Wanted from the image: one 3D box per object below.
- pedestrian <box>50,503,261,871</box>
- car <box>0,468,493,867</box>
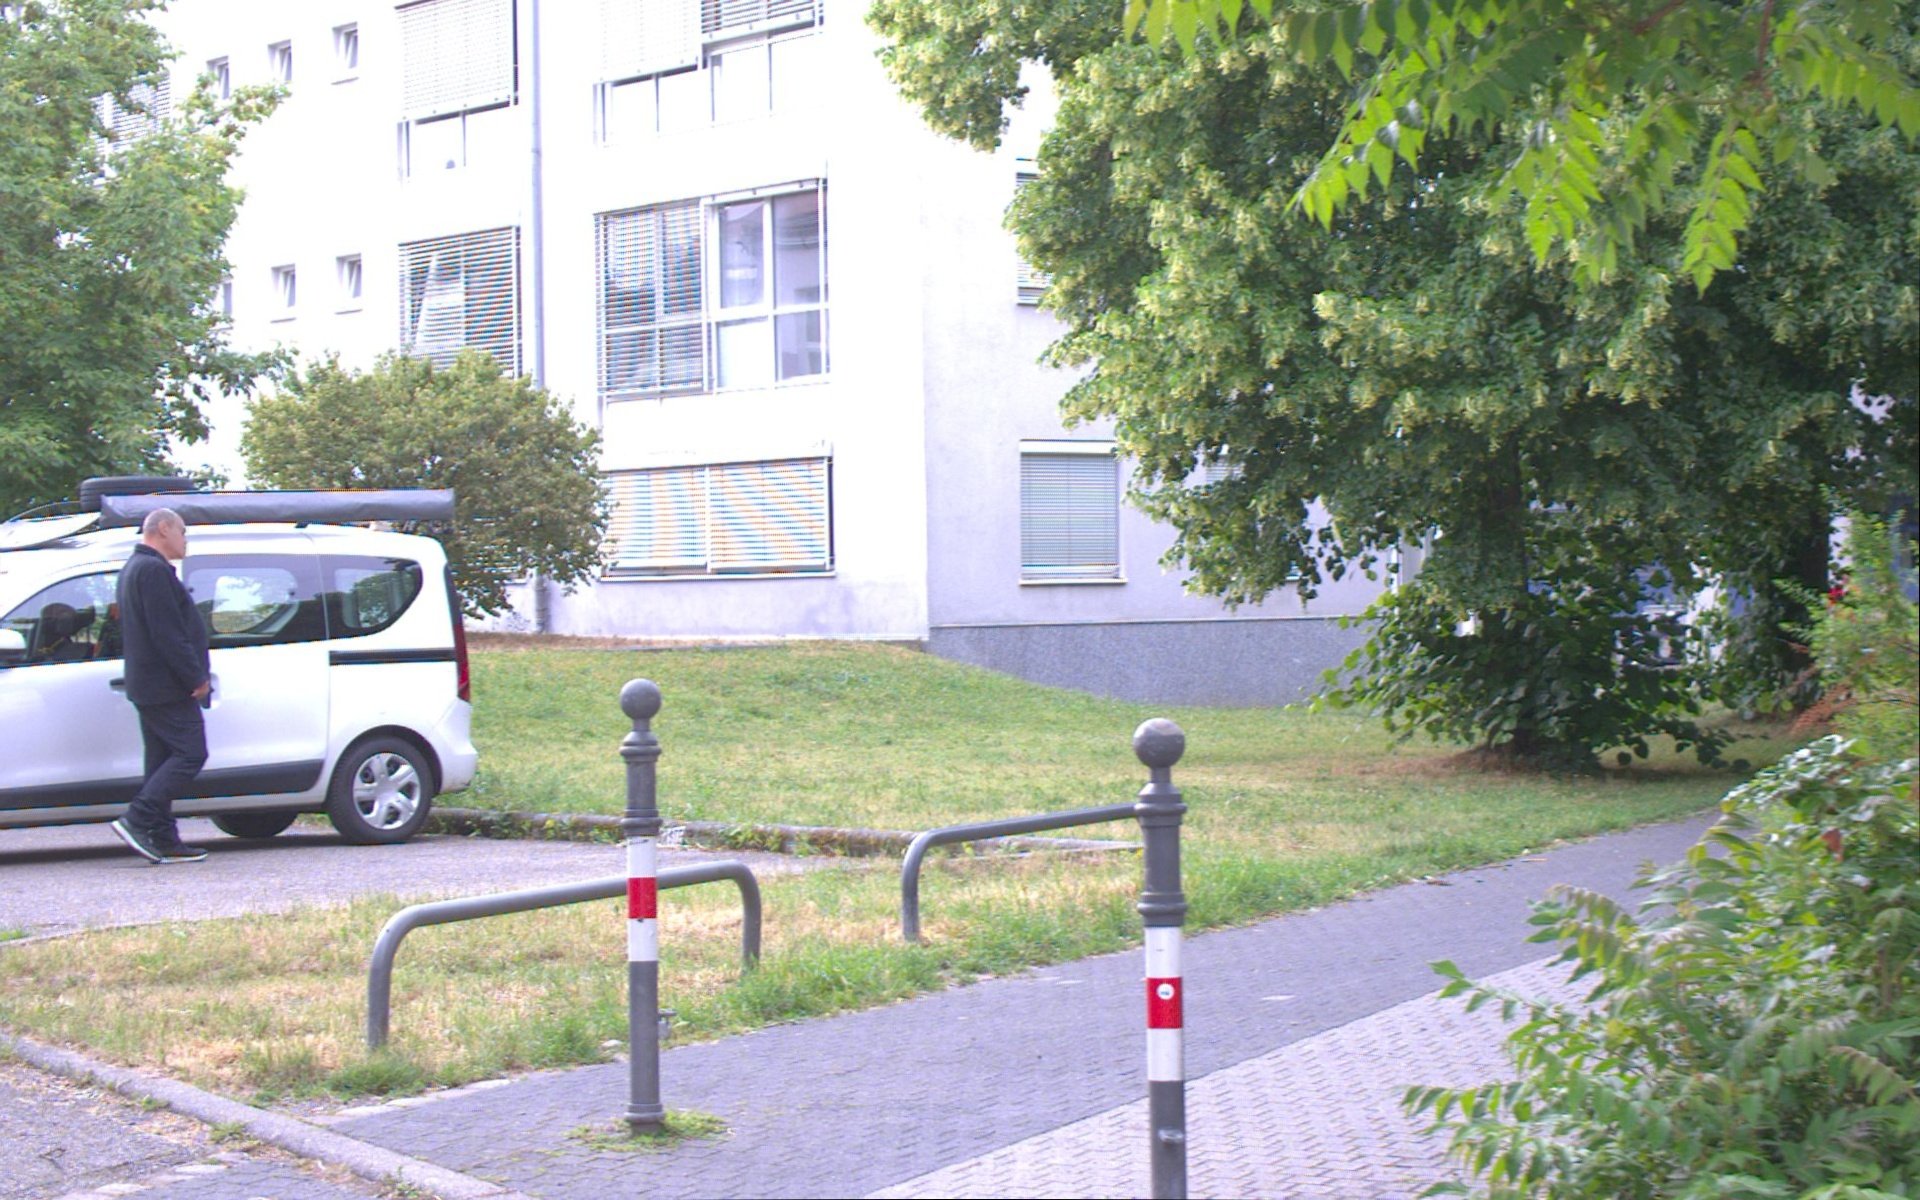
[{"bbox_3d":[-4.063,0.428,17.361,0.754,1.802,0.698,-1,-1,-40],"label":"pedestrian"},{"bbox_3d":[-4.874,0.349,18.471,4.339,2.007,1.853,-1,-1,-40],"label":"car"}]
